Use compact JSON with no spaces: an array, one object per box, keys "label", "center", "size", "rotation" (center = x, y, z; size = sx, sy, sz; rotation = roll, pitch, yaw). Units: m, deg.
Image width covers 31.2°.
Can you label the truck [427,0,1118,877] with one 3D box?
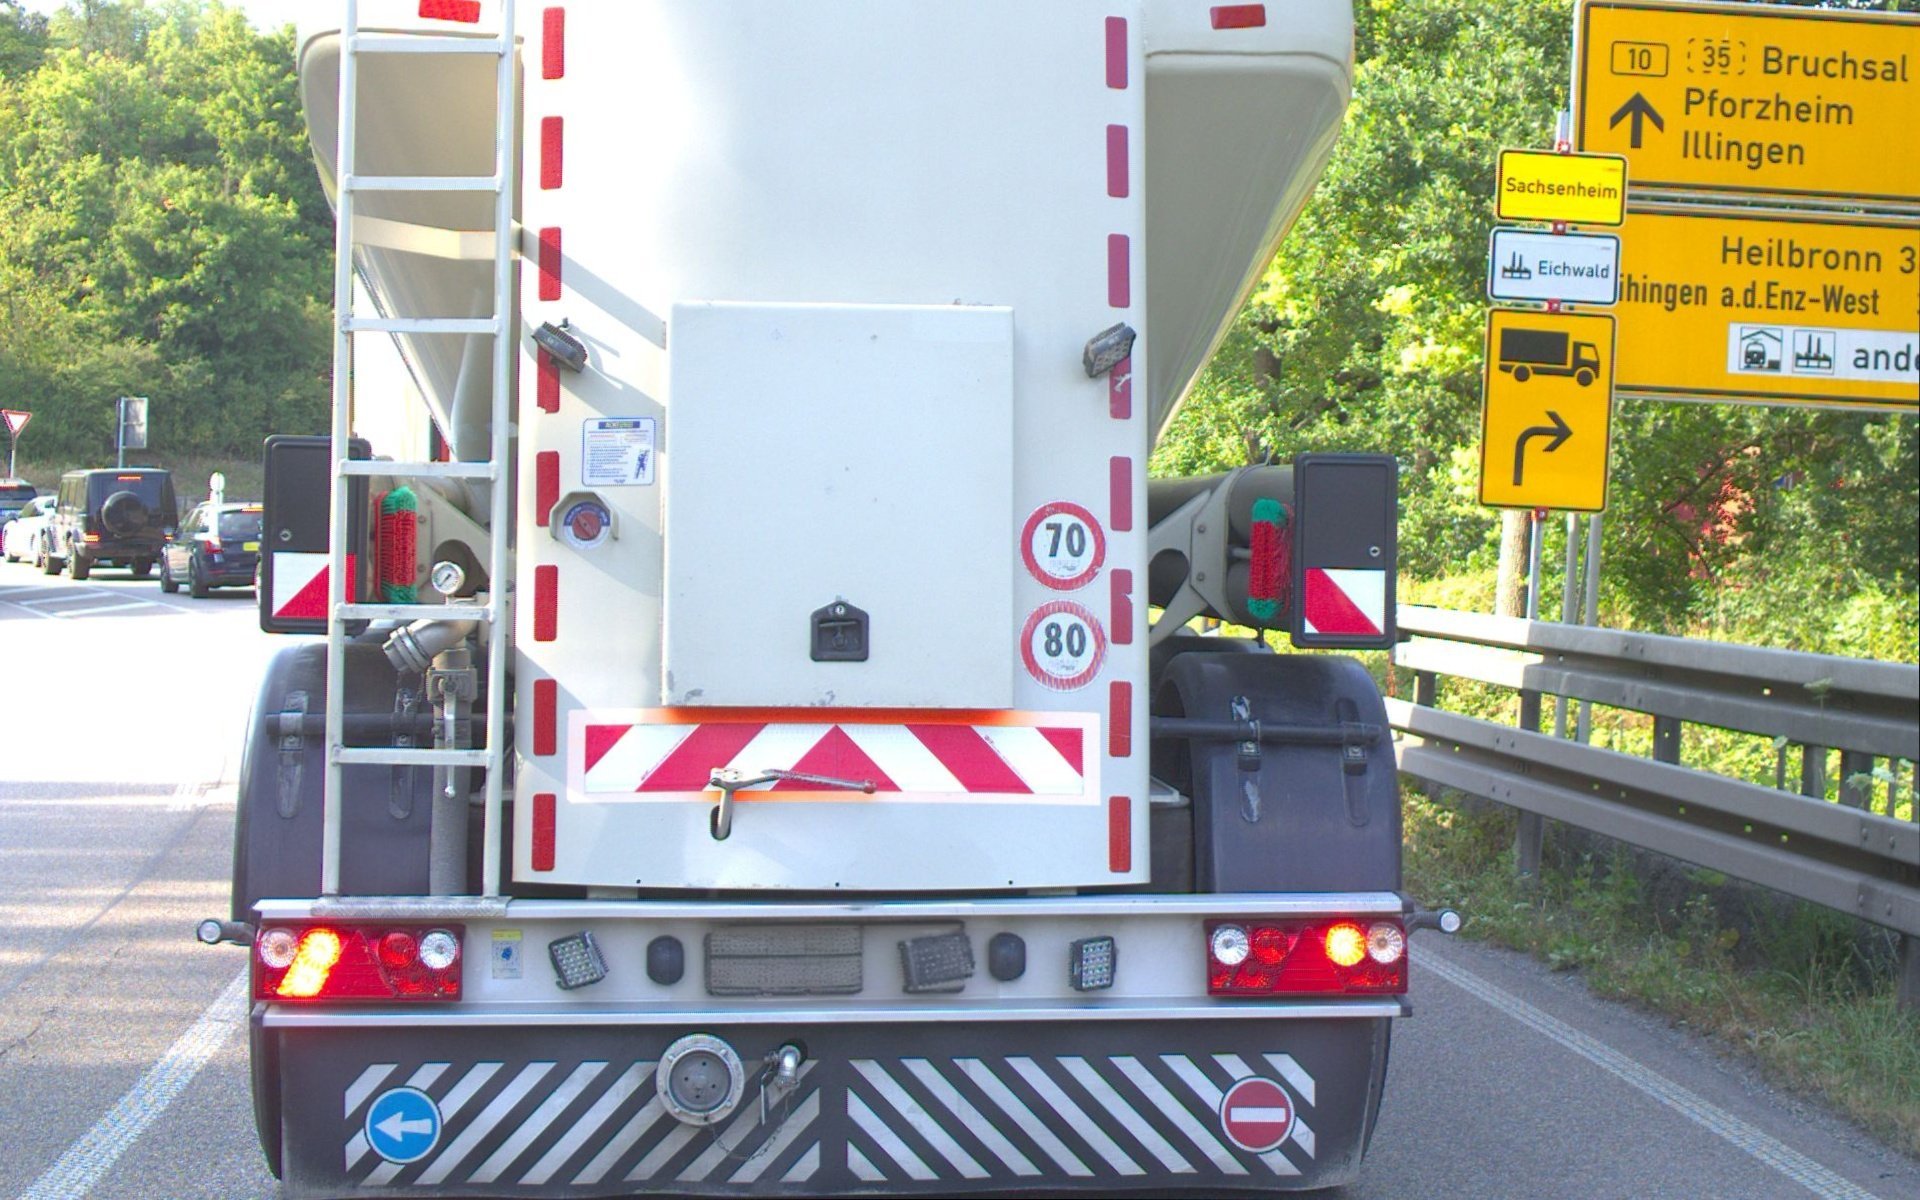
[{"label":"truck","center":[-1.128,-0.922,17.212],"size":[2.823,4.021,5.896],"rotation":[1,1,-7]}]

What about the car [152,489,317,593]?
[{"label":"car","center":[-11.366,-0.945,53.695],"size":[1.867,1.559,4.001],"rotation":[-1,2,-21]}]

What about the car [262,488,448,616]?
[{"label":"car","center":[-8.128,-0.685,45.938],"size":[1.867,1.622,4.002],"rotation":[-1,2,-18]}]

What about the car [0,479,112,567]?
[{"label":"car","center":[-18.852,-1.607,70.566],"size":[1.867,1.677,4.001],"rotation":[2,1,-27]}]

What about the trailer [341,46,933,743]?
[{"label":"trailer","center":[-3.269,-1.456,29.235],"size":[3.544,4.497,12.988],"rotation":[2,1,-11]}]

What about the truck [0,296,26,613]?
[{"label":"truck","center":[-17.146,-2.229,53.743],"size":[3.011,4.569,10.243],"rotation":[1,1,-26]}]

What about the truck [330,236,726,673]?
[{"label":"truck","center":[-4.716,-1.436,36.206],"size":[3.449,4.072,6.493],"rotation":[2,1,-12]}]

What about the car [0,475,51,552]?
[{"label":"car","center":[-21.354,-1.945,75.412],"size":[1.867,1.589,4.001],"rotation":[2,1,-27]}]

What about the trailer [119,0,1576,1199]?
[{"label":"trailer","center":[-0.581,-0.996,11.672],"size":[2.886,4.439,9.607],"rotation":[1,1,-5]}]

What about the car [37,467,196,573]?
[{"label":"car","center":[-15.357,-1.484,62.479],"size":[1.956,1.845,4.001],"rotation":[-1,2,-26]}]
